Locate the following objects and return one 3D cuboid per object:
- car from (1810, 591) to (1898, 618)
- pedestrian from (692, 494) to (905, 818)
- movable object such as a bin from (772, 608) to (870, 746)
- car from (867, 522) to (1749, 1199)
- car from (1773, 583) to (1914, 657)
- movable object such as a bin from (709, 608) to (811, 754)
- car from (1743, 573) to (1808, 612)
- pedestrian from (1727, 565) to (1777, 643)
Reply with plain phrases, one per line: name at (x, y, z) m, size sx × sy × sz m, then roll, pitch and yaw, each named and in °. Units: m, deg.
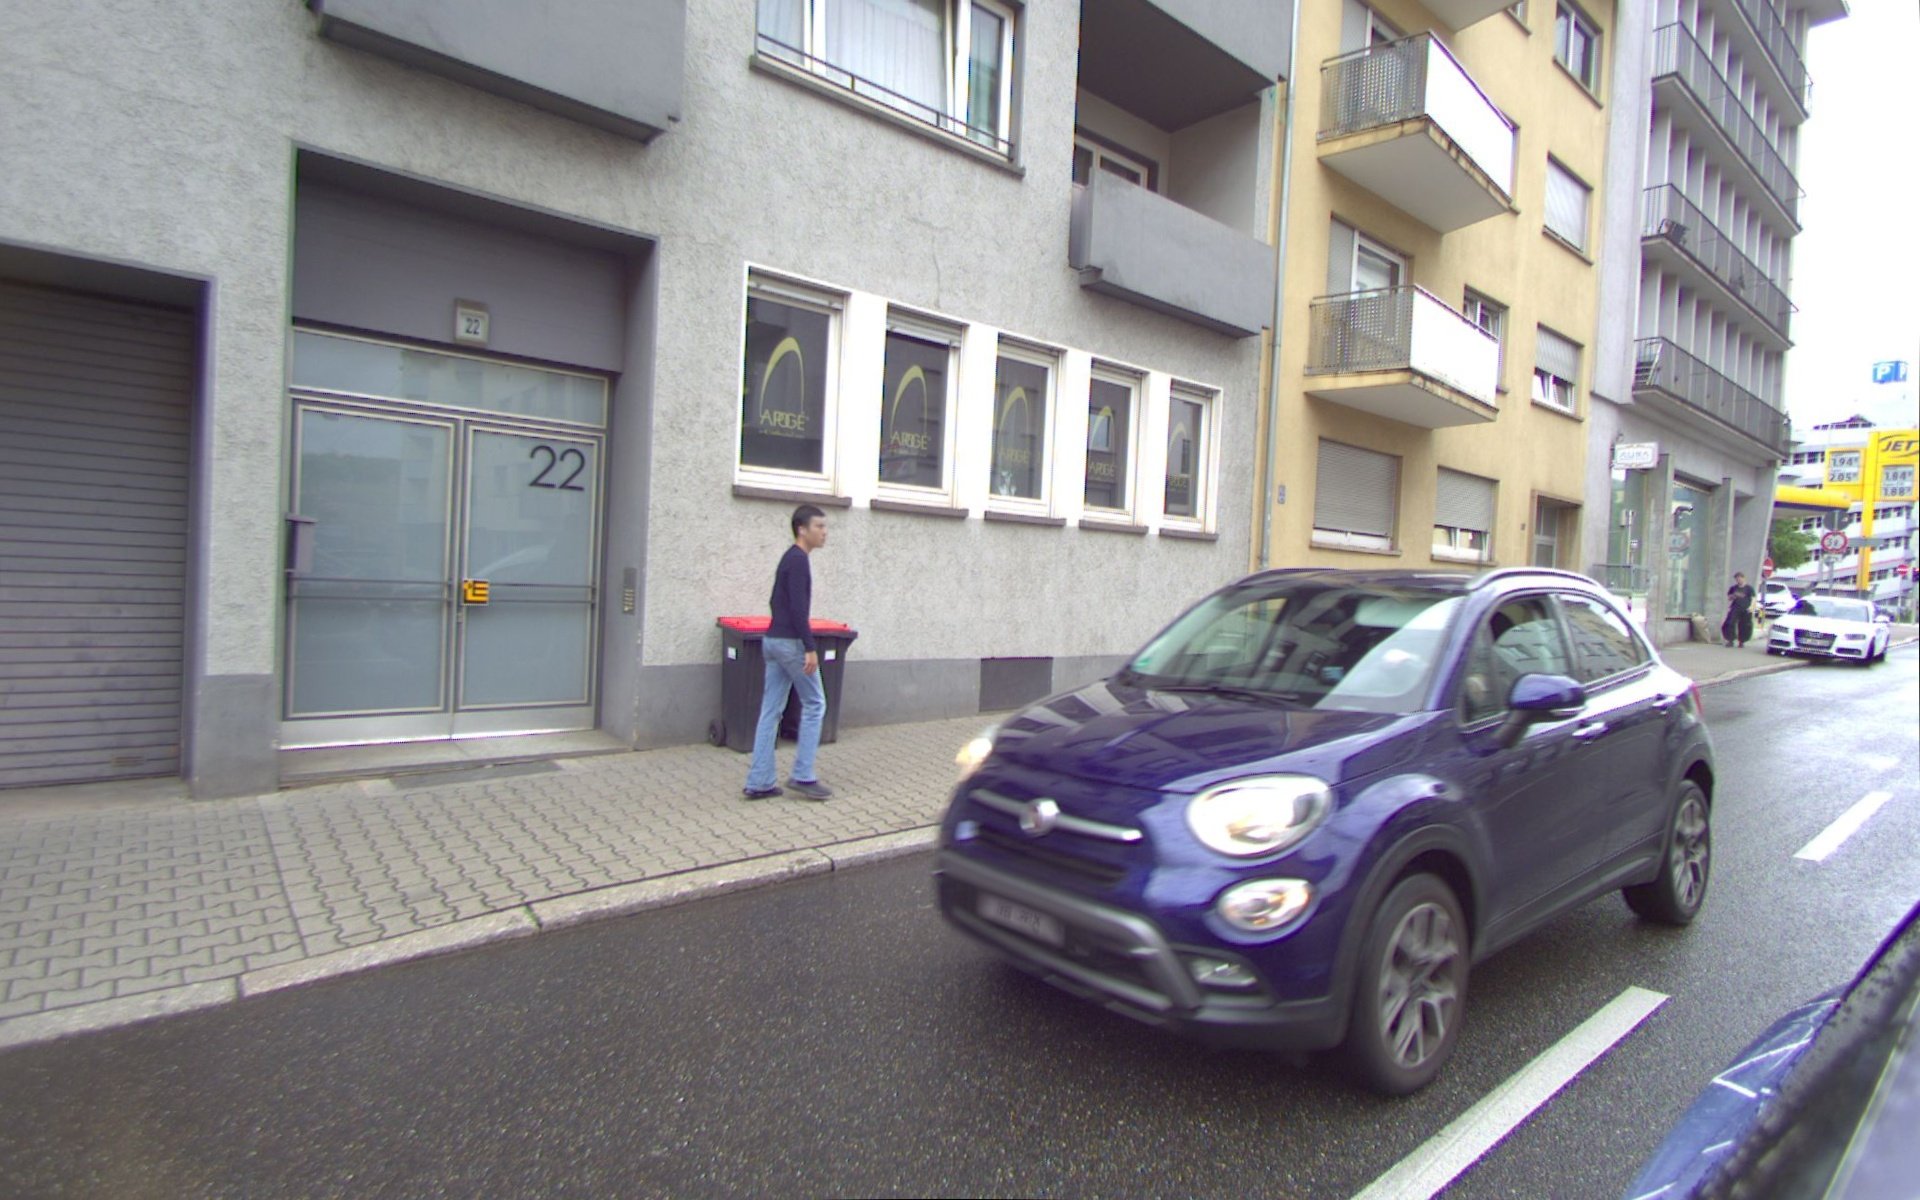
car at (59.548, 0.272, 67.502) m, size 3.956 × 1.526 × 1.725 m, roll 3°, pitch 2°, yaw 23°
pedestrian at (-0.987, 0.292, 6.207) m, size 1.038 × 1.799 × 0.644 m, roll 0°, pitch 5°, yaw -41°
movable object such as a bin at (-1.073, 0.569, 7.791) m, size 0.506 × 0.961 × 0.541 m, roll 0°, pitch 5°, yaw -40°
car at (1.726, 0.592, 4.255) m, size 3.930 × 1.600 × 1.770 m, roll 0°, pitch 2°, yaw -41°
car at (20.136, 0.392, 23.024) m, size 4.093 × 1.453 × 1.803 m, roll 0°, pitch 4°, yaw -41°
movable object such as a bin at (-1.473, 0.572, 7.446) m, size 0.506 × 0.967 × 0.541 m, roll 0°, pitch 5°, yaw -40°
car at (33.296, -0.310, 41.272) m, size 1.766 × 1.493 × 3.937 m, roll 0°, pitch 0°, yaw 43°
pedestrian at (18.863, 0.084, 24.097) m, size 0.872 × 1.777 × 0.679 m, roll 0°, pitch 2°, yaw -39°
